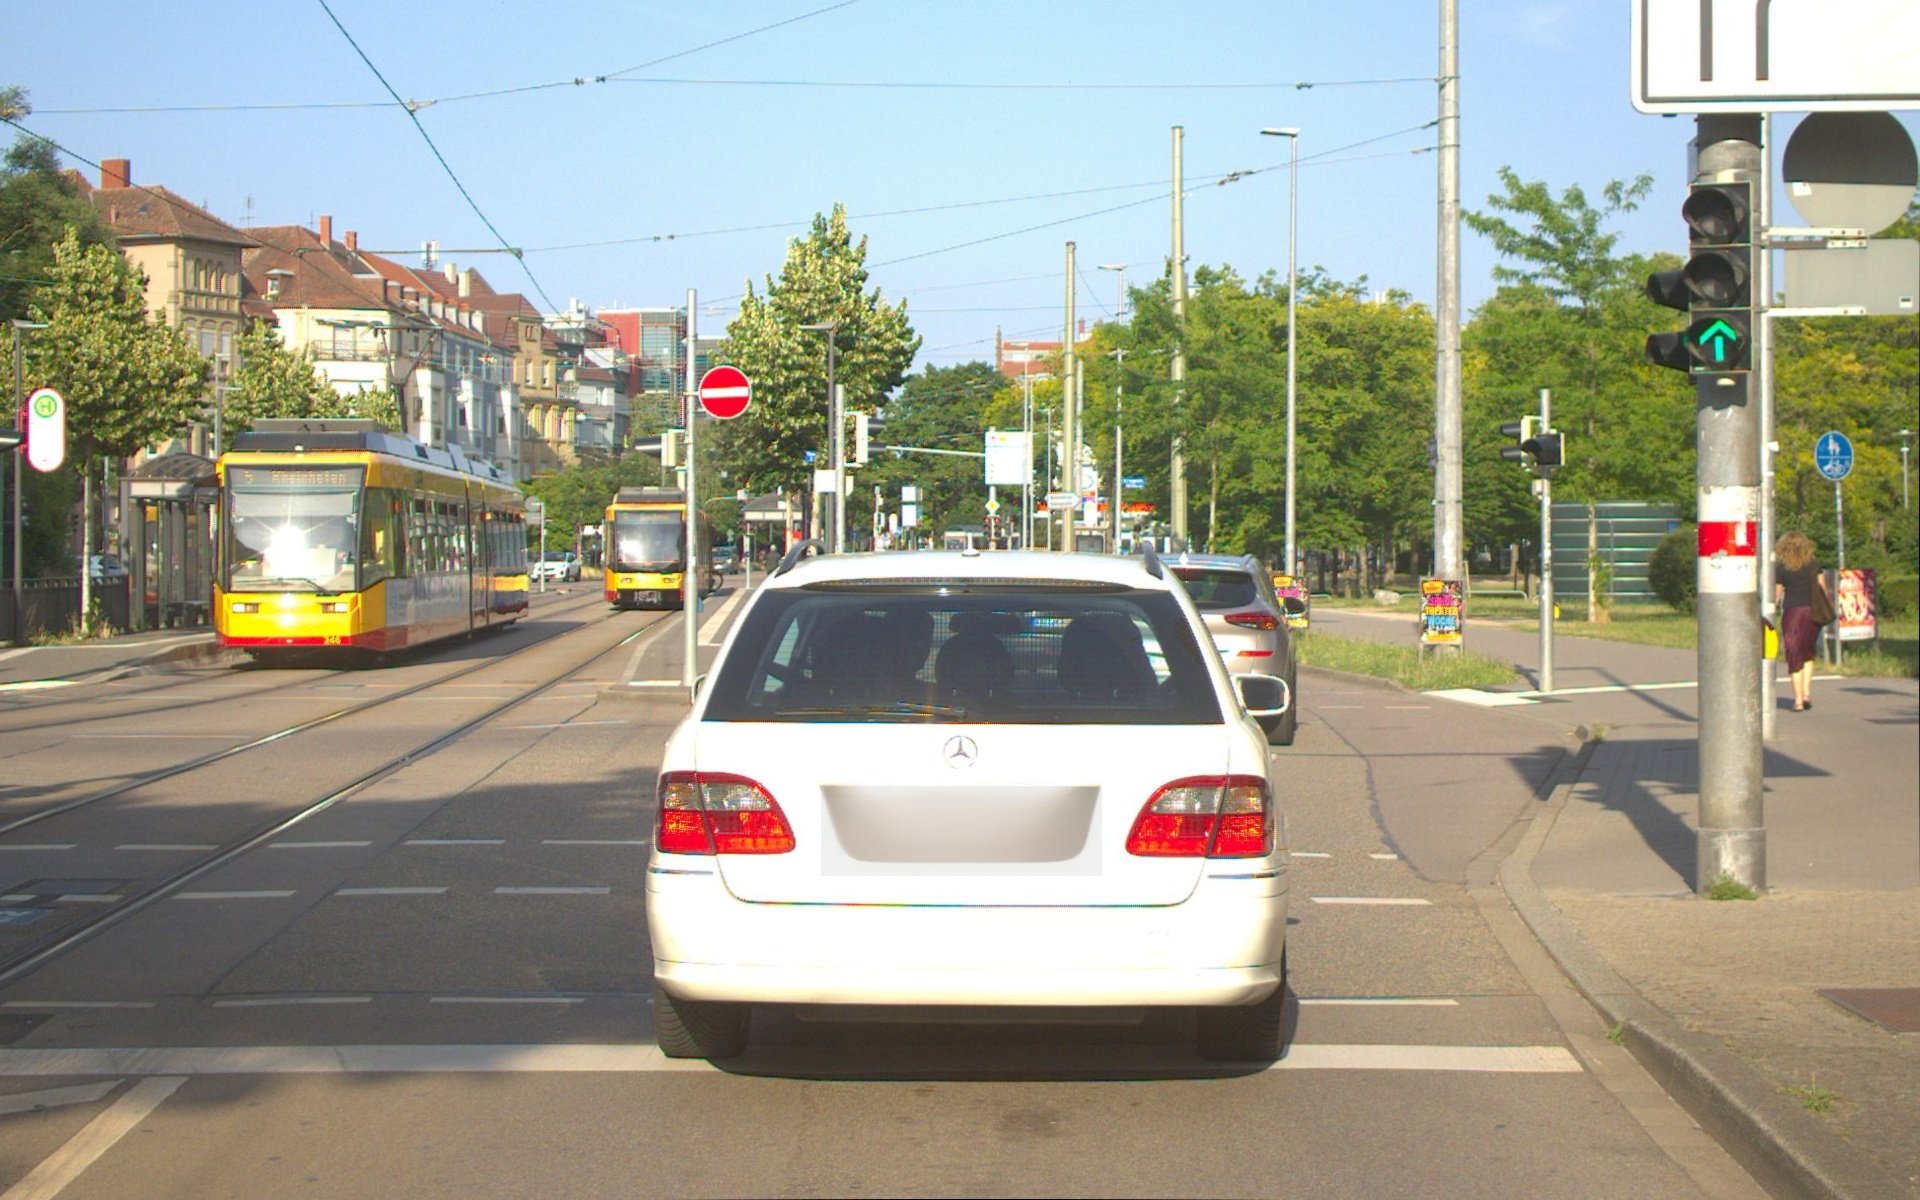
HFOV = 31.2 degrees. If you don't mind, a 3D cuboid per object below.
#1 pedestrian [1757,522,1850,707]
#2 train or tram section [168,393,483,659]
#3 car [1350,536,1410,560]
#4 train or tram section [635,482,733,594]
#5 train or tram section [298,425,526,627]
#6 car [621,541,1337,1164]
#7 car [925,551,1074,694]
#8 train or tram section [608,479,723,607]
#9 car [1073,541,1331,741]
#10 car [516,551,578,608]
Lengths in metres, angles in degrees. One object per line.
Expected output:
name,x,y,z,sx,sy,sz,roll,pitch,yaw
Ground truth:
pedestrian,7.964,0.129,32.481,0.615,1.686,0.548,-5,1,1
train or tram section,-9.373,-1.122,52.634,3.161,3.467,14.535,1,1,-4
car,28.863,-3.598,236.332,3.989,1.645,1.999,0,1,11
train or tram section,-9.089,-2.074,114.340,2.849,3.467,13.202,1,1,-3
train or tram section,-10.441,-1.433,67.062,3.161,3.467,14.475,1,1,-4
car,0.019,0.602,10.657,1.758,1.498,4.000,-2,1,-1
car,0.522,0.249,43.692,1.787,1.684,4.000,1,1,1
train or tram section,-8.569,-1.736,101.378,2.849,3.467,13.202,1,1,-3
car,2.052,0.304,30.221,2.033,1.600,4.000,1,1,1
car,-20.808,-1.067,173.492,2.596,2.726,7.469,1,1,-3
